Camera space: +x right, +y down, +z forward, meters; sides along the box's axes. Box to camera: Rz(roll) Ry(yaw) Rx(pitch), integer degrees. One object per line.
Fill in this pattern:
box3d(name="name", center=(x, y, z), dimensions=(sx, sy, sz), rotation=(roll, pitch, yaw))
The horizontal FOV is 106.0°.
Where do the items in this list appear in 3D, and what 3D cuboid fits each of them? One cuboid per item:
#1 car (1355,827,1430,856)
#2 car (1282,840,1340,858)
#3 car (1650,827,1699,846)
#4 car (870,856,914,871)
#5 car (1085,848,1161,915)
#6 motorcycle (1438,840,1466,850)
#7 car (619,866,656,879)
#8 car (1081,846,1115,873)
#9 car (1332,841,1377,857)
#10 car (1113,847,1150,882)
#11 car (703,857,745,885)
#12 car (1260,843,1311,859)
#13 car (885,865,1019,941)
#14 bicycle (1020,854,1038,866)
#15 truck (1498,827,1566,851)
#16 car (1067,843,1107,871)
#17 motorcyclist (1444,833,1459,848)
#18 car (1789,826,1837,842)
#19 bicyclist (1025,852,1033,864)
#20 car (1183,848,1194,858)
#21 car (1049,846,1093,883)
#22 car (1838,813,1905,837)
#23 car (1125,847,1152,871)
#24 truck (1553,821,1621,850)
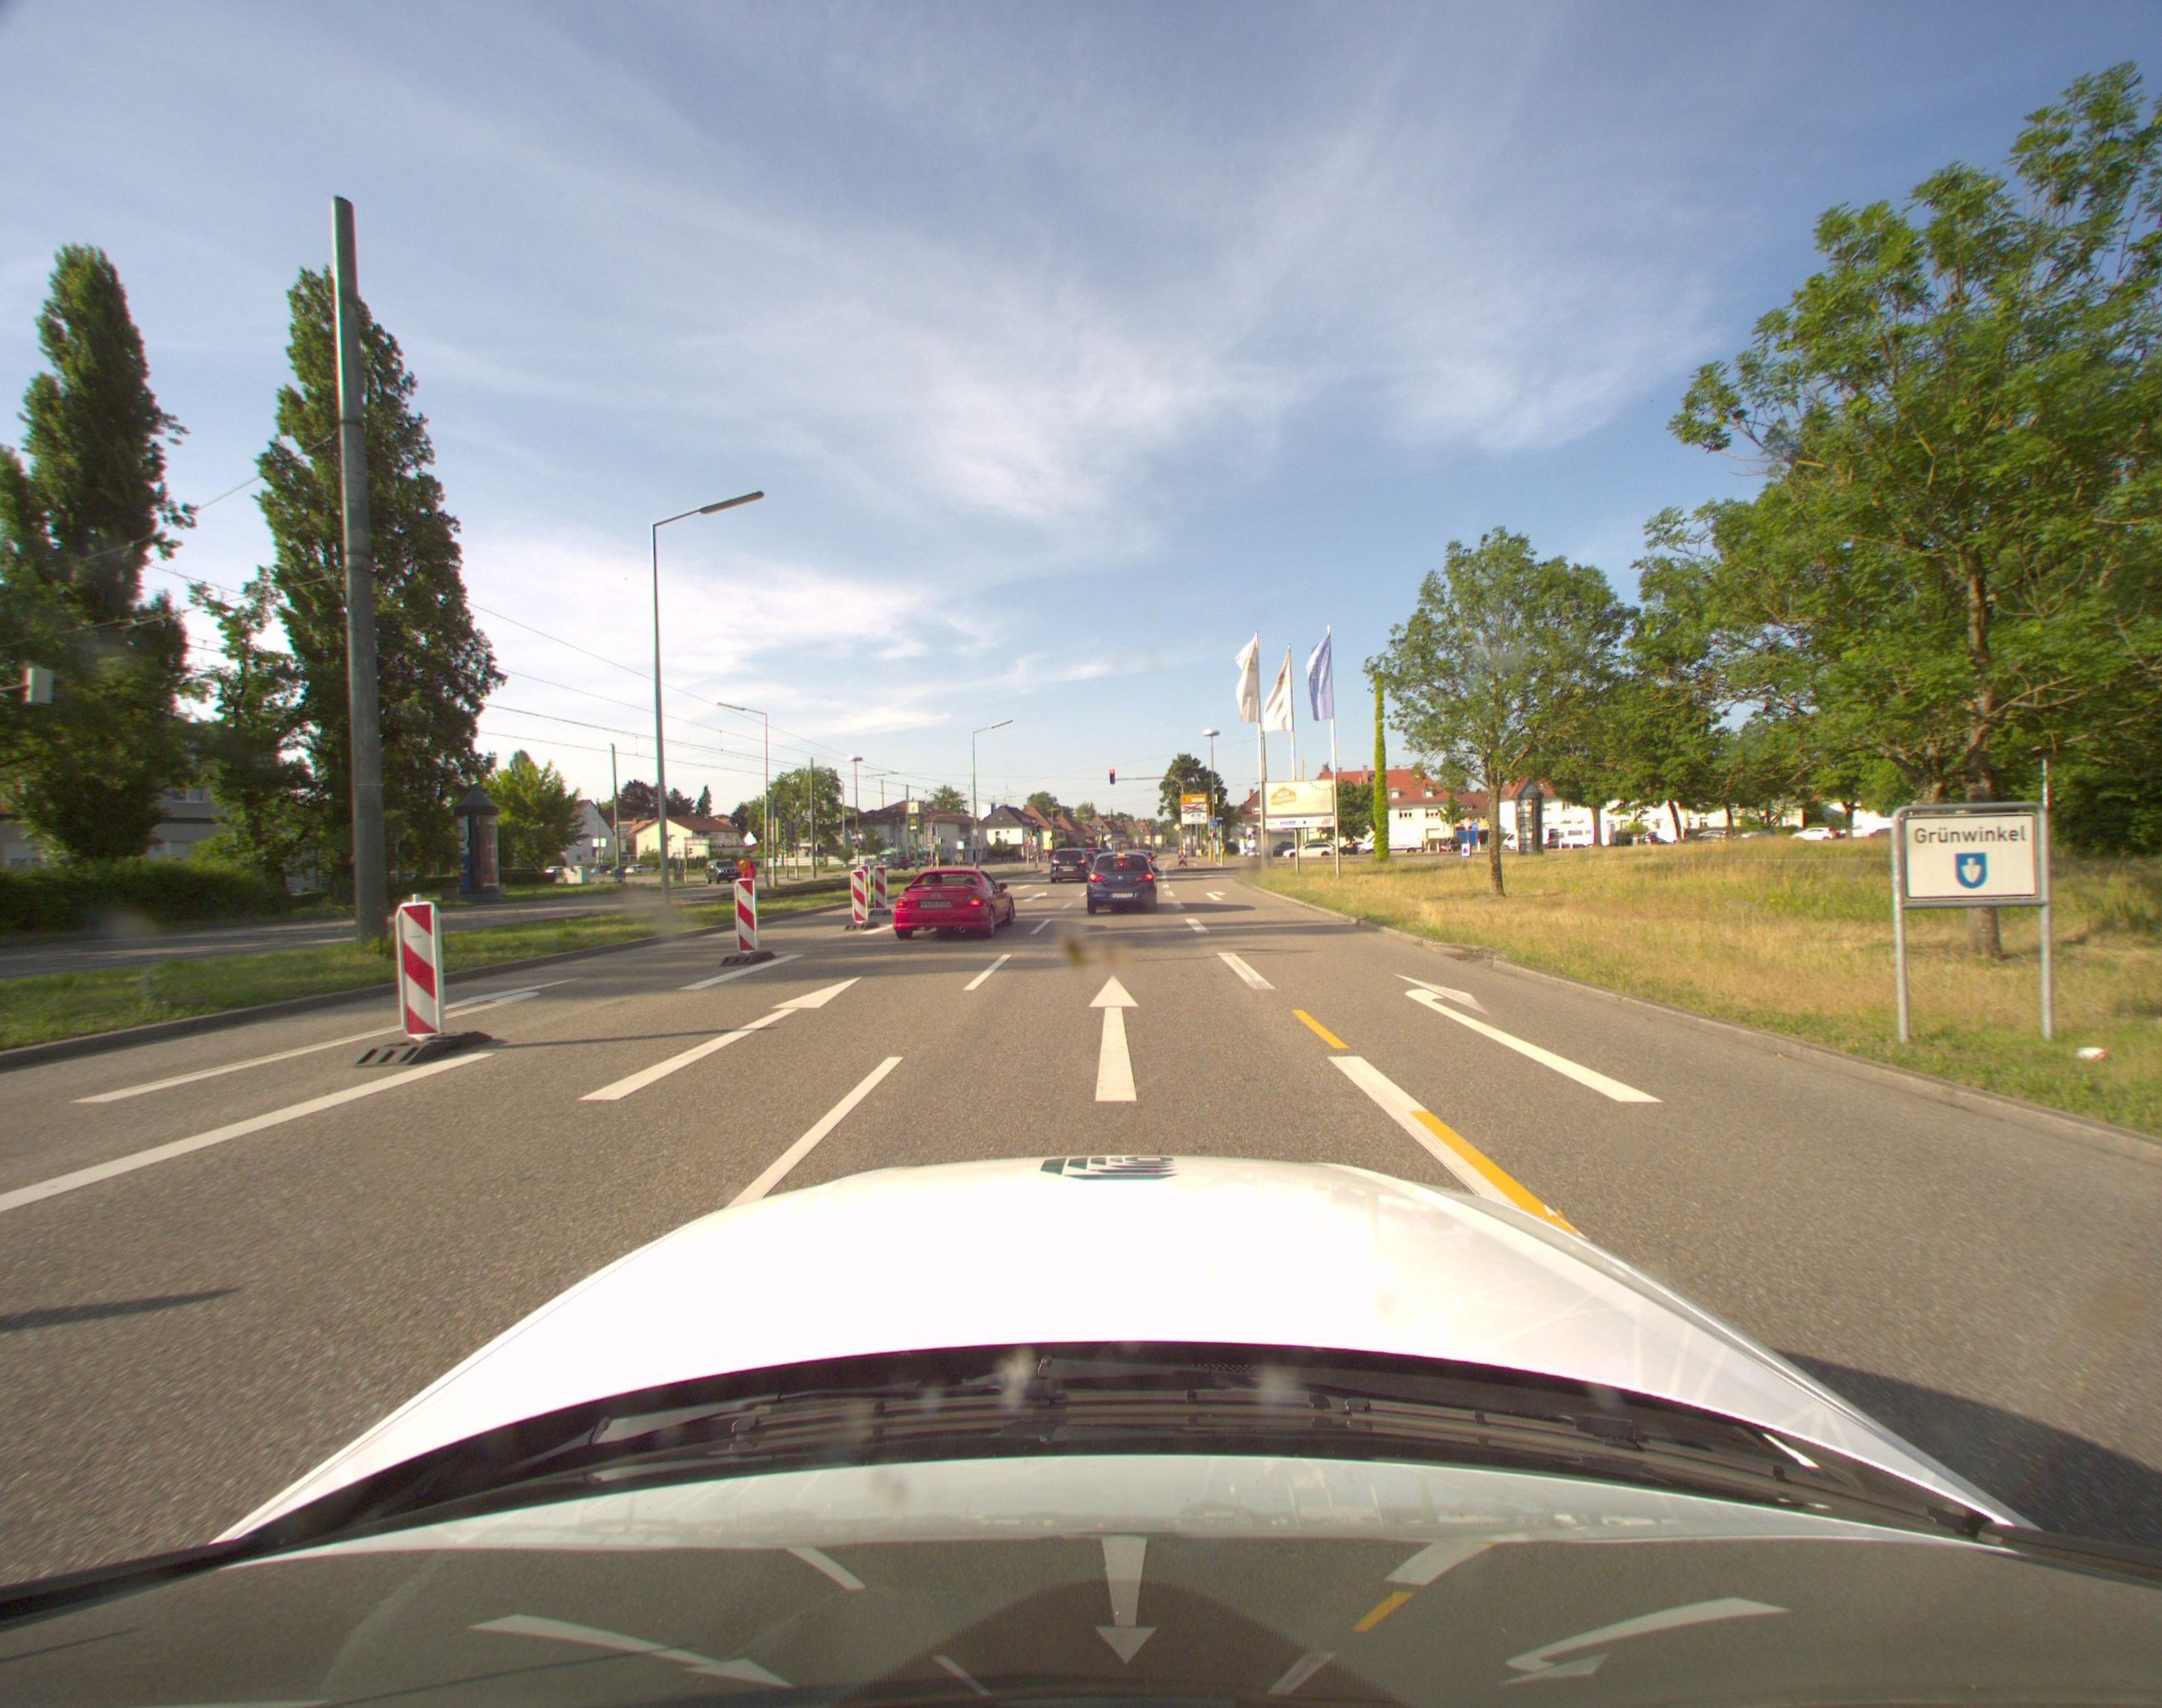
box3d(name="car", center=(29.247, -1.160, 76.628), dimensions=(6.174, 2.583, 2.004), rotation=(-2, 0, 7))
box3d(name="car", center=(21.844, -0.463, 77.420), dimensions=(5.066, 1.563, 1.844), rotation=(-2, 0, 7))
box3d(name="car", center=(65.167, -1.948, 89.455), dimensions=(1.905, 1.920, 3.864), rotation=(-2, 0, -39))
box3d(name="car", center=(-20.078, 1.013, 86.540), dimensions=(3.965, 1.486, 2.004), rotation=(-2, 0, 7))
box3d(name="car", center=(1.018, 0.617, 21.072), dimensions=(1.735, 1.505, 4.223), rotation=(-2, 0, 1))
box3d(name="motorcycle", center=(34.266, -0.800, 75.224), dimensions=(2.259, 0.866, 0.692), rotation=(-2, 0, 6))
box3d(name="car", center=(-59.060, 2.427, 108.570), dimensions=(1.979, 1.684, 4.235), rotation=(0, -1, 14))
box3d(name="car", center=(1.206, 0.315, 54.485), dimensions=(1.497, 1.651, 4.757), rotation=(-2, 0, 10))
box3d(name="car", center=(27.004, -0.526, 80.475), dimensions=(3.965, 1.453, 1.719), rotation=(-2, 0, 7))
box3d(name="car", center=(2.537, 0.489, 40.151), dimensions=(1.698, 1.551, 3.983), rotation=(-2, 0, 5))
box3d(name="car", center=(-28.561, 1.343, 65.074), dimensions=(2.009, 2.013, 5.300), rotation=(-2, 0, -35))
box3d(name="car", center=(20.351, -0.324, 81.258), dimensions=(4.797, 1.411, 1.719), rotation=(-2, 0, 7))
box3d(name="car", center=(-2.321, 0.851, 15.656), dimensions=(1.723, 1.206, 3.851), rotation=(0, 0, 4))
box3d(name="bicycle", center=(-6.125, 0.674, 95.922), dimensions=(2.069, 1.348, 1.108), rotation=(0, -1, -2))
box3d(name="truck", center=(49.647, -1.617, 89.862), dimensions=(2.283, 2.524, 6.300), rotation=(-2, 1, -28))
box3d(name="car", center=(0.411, 0.144, 46.872), dimensions=(1.690, 1.508, 4.564), rotation=(-1, 0, 8))
box3d(name="motorcyclist", center=(34.248, -1.231, 75.220), dimensions=(1.060, 1.352, 0.681), rotation=(-2, 0, 6))
box3d(name="car", center=(78.497, -2.133, 87.363), dimensions=(1.904, 1.514, 3.396), rotation=(-2, 0, -35))
box3d(name="bicyclist", center=(-6.130, 0.507, 95.925), dimensions=(0.881, 1.431, 1.136), rotation=(0, -1, -2))
box3d(name="car", center=(16.686, -0.134, 126.605), dimensions=(1.665, 1.398, 4.009), rotation=(0, -1, 8))
box3d(name="car", center=(-0.430, 0.455, 39.647), dimensions=(1.755, 1.670, 4.089), rotation=(-1, 0, 4))
box3d(name="car", center=(84.634, -3.079, 87.247), dimensions=(2.010, 2.232, 4.922), rotation=(-2, 0, -39))
box3d(name="car", center=(3.819, 0.307, 53.506), dimensions=(1.648, 1.443, 4.020), rotation=(-2, 0, 5))
box3d(name="truck", center=(55.663, -2.019, 89.750), dimensions=(1.906, 2.854, 6.008), rotation=(-2, 0, -39))
